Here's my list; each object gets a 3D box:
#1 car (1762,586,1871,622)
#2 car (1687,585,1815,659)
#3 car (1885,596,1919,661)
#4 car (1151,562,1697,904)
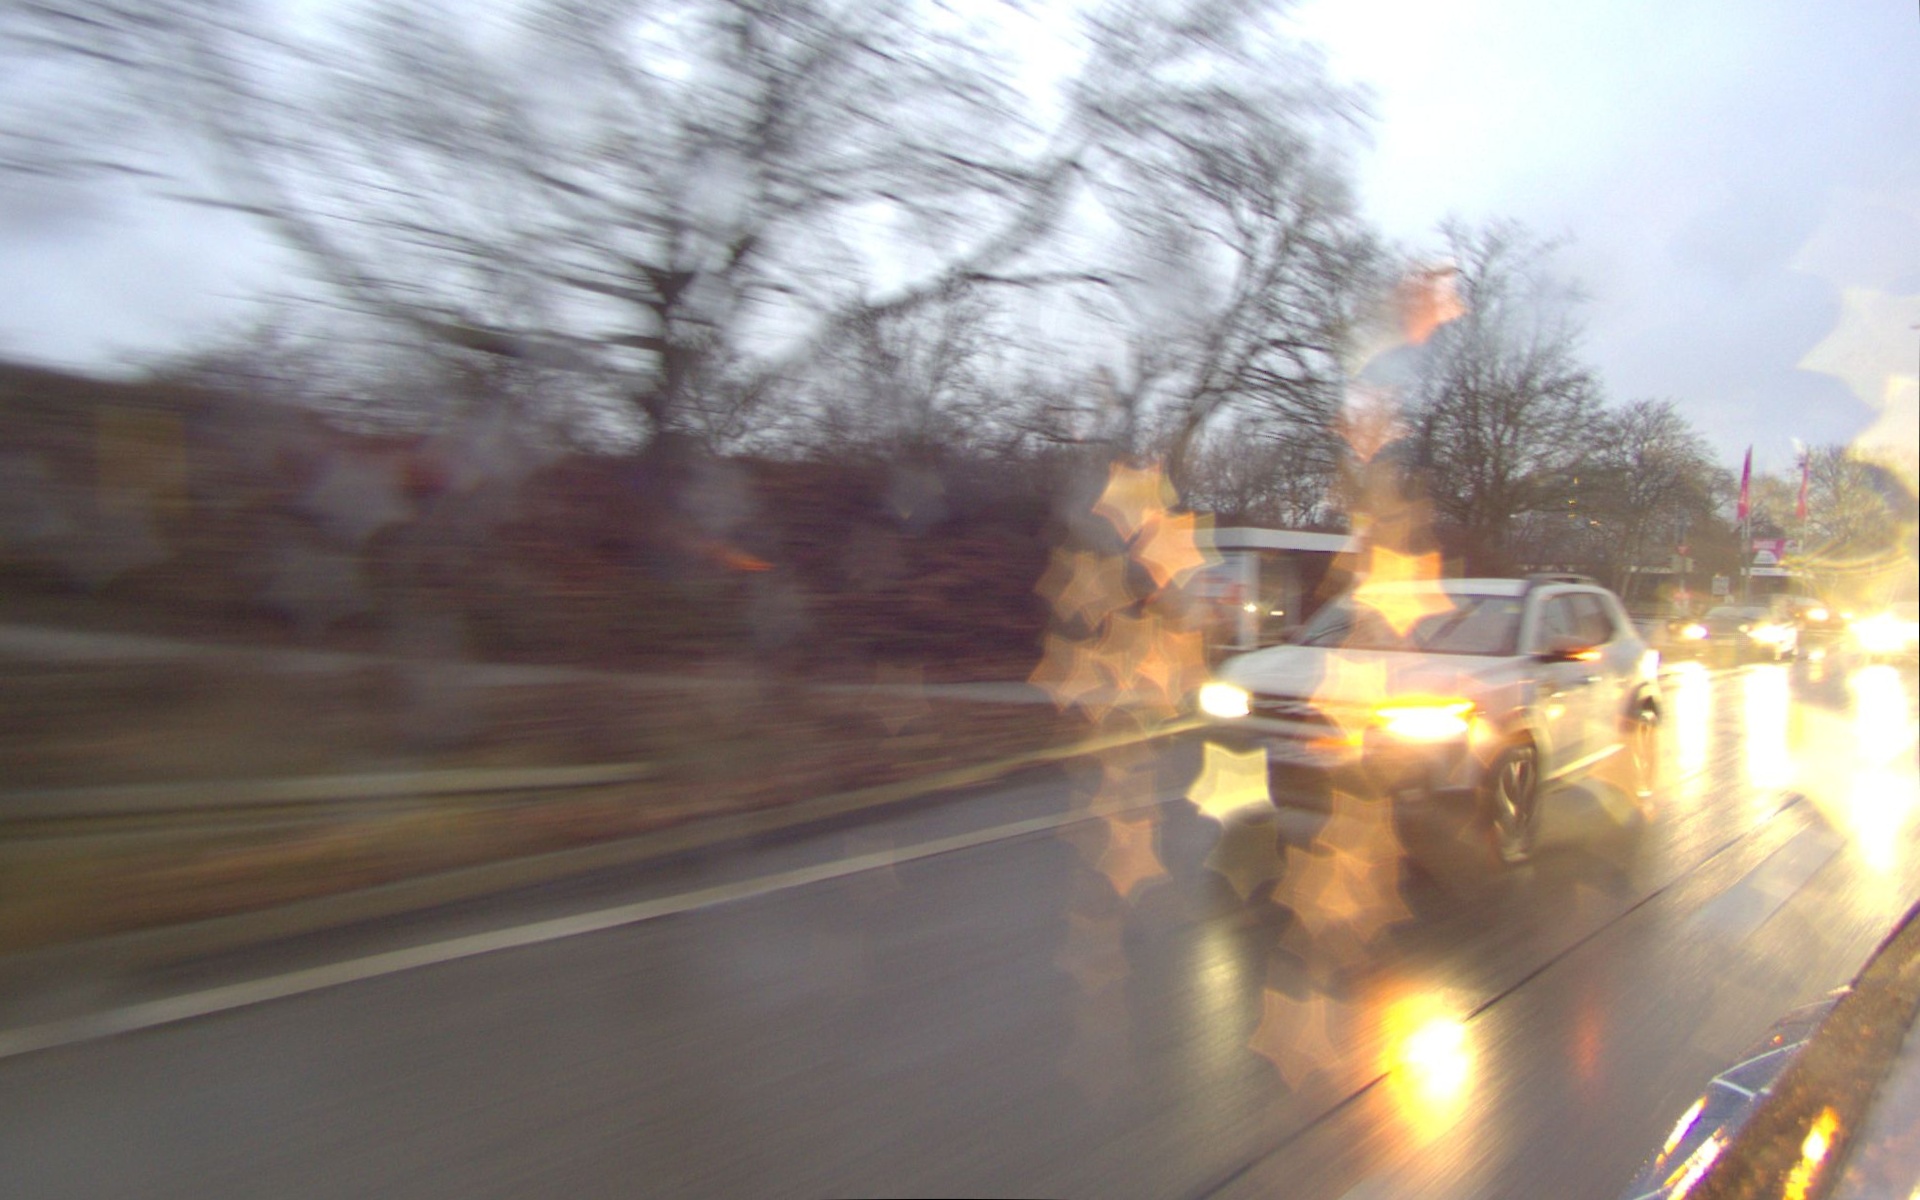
[{"bbox_3d":[34.595,0.126,41.013,1.612,1.326,3.986,1,2,12],"label":"car"},{"bbox_3d":[20.224,0.471,25.817,4.473,1.639,1.969,-1,3,-44],"label":"car"},{"bbox_3d":[23.517,0.639,24.102,4.676,1.393,1.878,-1,2,-44],"label":"car"},{"bbox_3d":[3.392,0.585,6.967,4.334,1.638,1.818,-1,2,-41],"label":"car"}]
